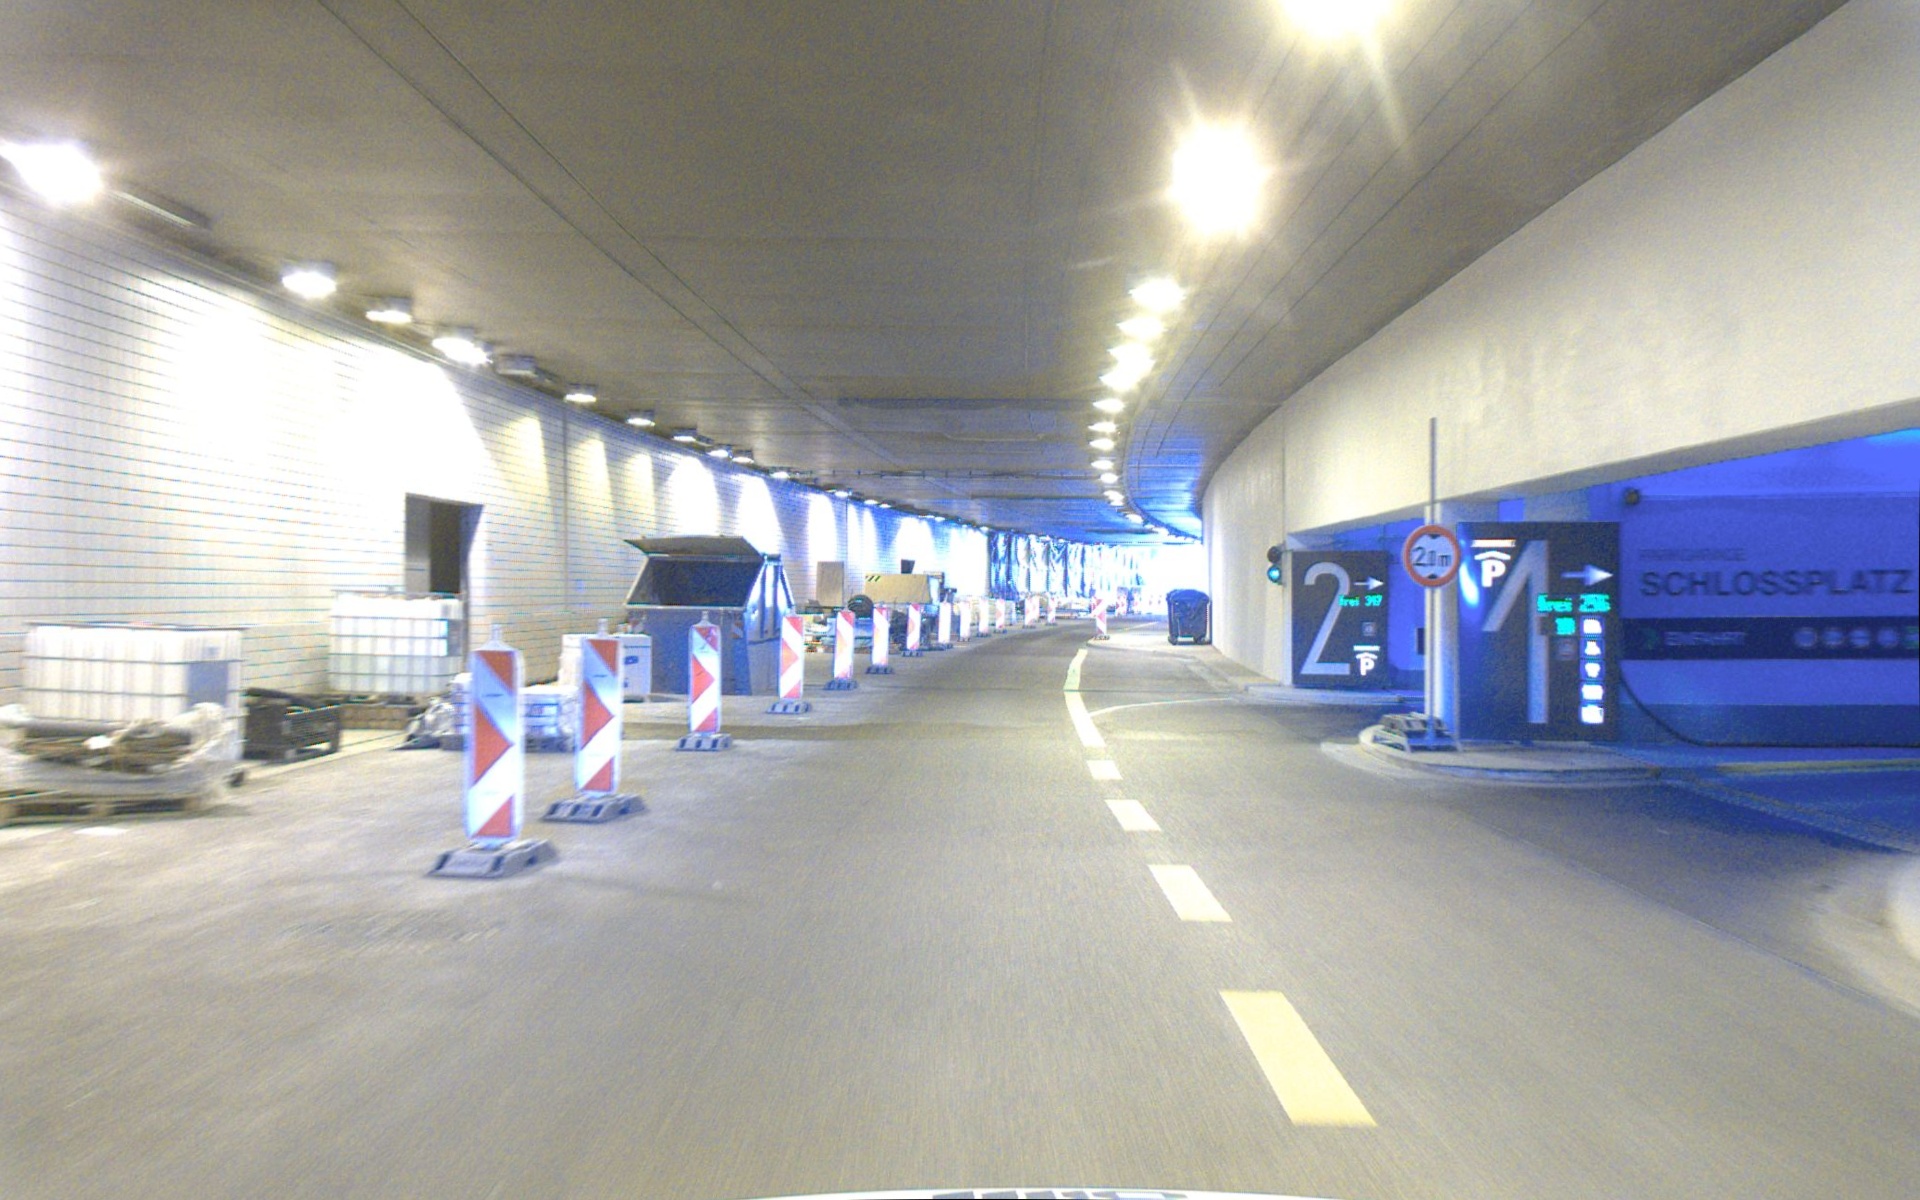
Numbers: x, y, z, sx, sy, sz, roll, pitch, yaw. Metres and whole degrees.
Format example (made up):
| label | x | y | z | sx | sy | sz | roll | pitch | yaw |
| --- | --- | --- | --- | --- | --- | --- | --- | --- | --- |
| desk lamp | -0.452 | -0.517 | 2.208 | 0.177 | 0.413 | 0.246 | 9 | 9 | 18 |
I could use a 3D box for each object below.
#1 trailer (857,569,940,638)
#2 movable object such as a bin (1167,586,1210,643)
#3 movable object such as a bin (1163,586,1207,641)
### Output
| label | x | y | z | sx | sy | sz | roll | pitch | yaw |
| --- | --- | --- | --- | --- | --- | --- | --- | --- | --- |
| trailer | -1.869 | 0.110 | 51.364 | 2.161 | 2.049 | 3.468 | 1 | 0 | 4 |
| movable object such as a bin | 6.106 | 0.385 | 44.311 | 1.074 | 1.470 | 1.323 | 1 | 0 | 6 |
| movable object such as a bin | 6.209 | 0.369 | 45.718 | 1.121 | 1.470 | 1.365 | 1 | 0 | 6 |
